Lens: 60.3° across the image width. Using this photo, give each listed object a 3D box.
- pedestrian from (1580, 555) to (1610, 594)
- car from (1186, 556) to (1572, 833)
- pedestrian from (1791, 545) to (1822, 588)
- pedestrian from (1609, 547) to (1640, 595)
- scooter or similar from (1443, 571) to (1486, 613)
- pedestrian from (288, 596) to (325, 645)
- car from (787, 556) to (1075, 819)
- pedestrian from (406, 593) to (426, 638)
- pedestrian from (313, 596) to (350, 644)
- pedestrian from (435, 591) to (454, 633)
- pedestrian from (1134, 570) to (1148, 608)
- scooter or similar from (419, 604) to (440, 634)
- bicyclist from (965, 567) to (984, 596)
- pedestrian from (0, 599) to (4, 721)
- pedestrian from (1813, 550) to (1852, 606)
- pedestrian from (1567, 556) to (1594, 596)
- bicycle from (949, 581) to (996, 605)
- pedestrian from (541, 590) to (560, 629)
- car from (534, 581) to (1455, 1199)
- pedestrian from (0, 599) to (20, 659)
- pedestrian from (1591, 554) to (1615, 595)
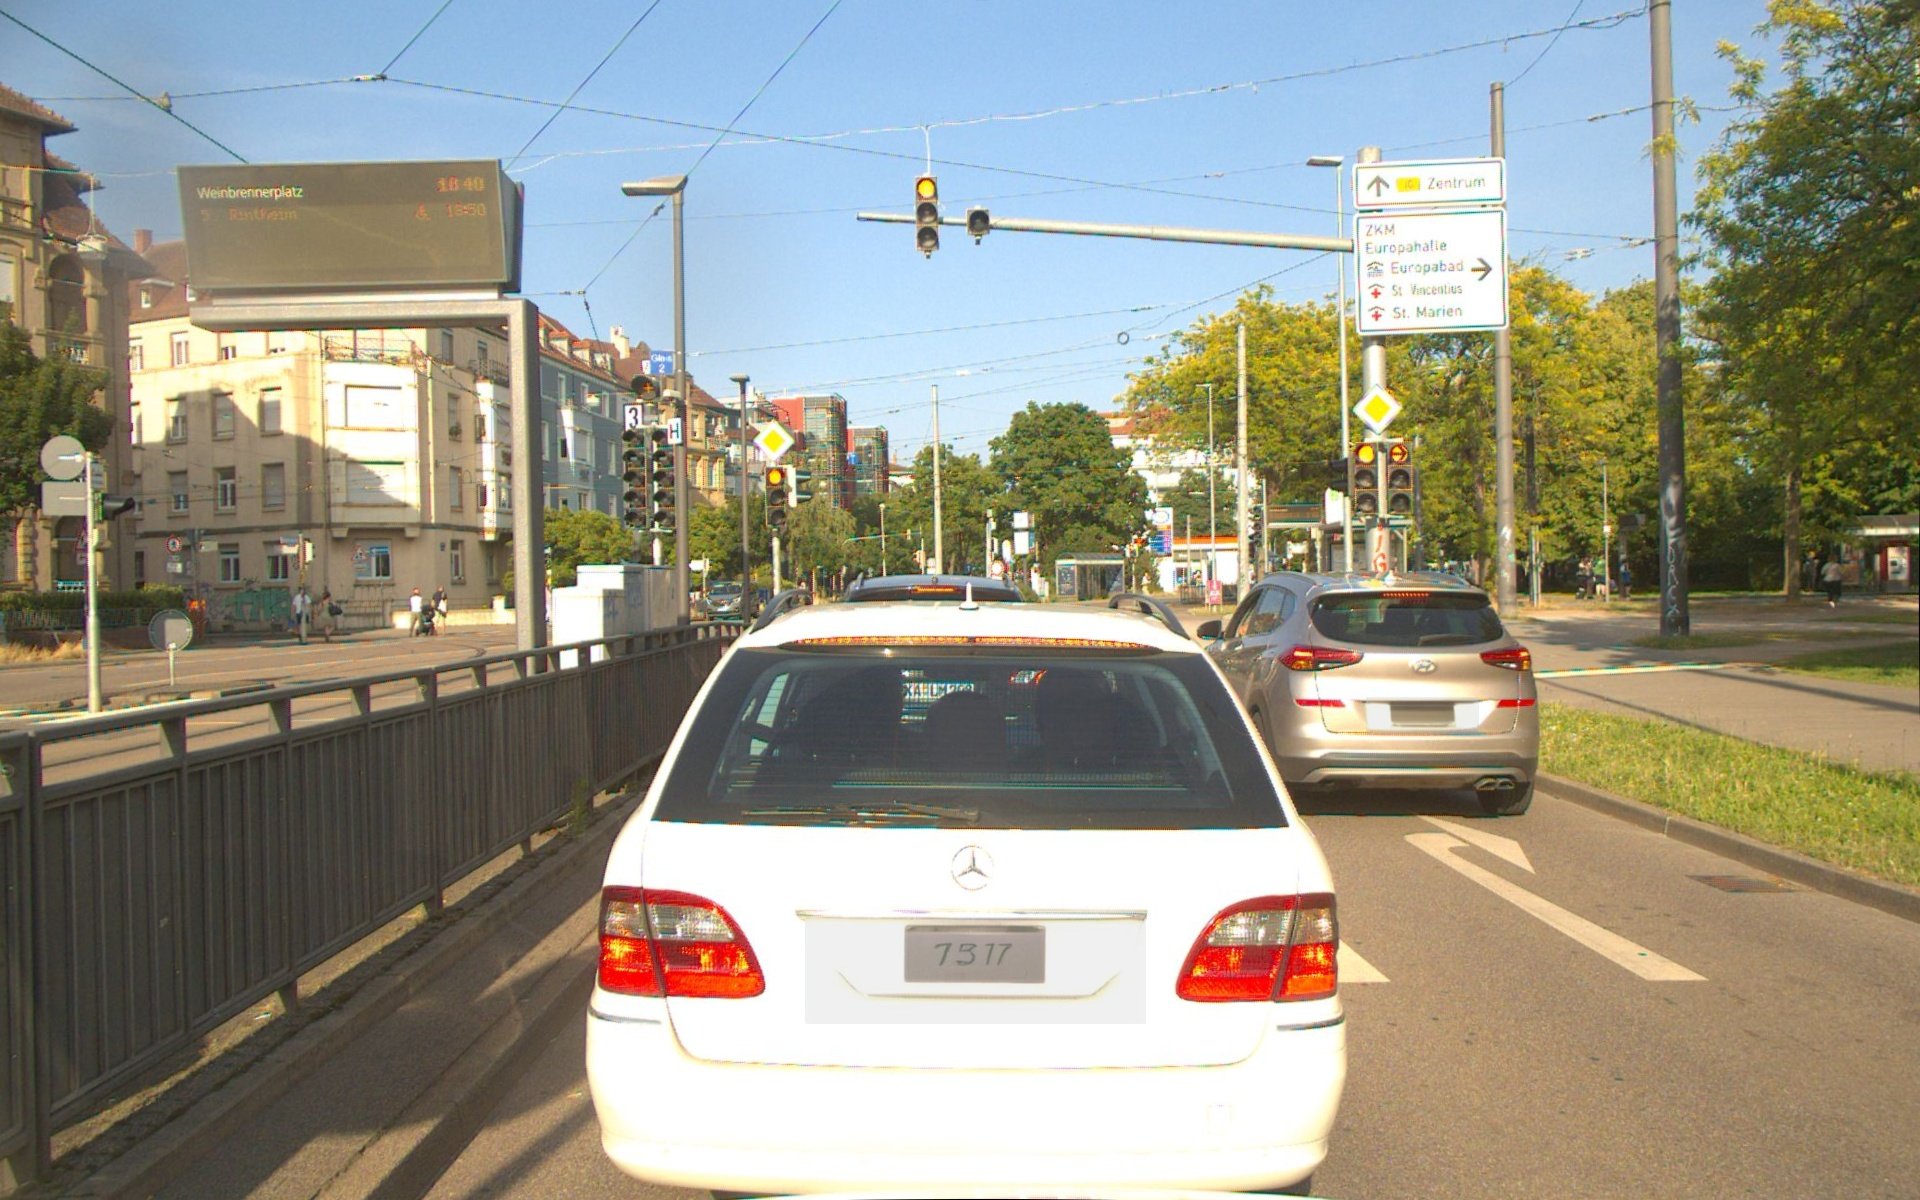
[{"bbox_3d":[24.863,-0.991,64.752,0.799,1.513,0.699,-1,0,-12],"label":"pedestrian"},{"bbox_3d":[2.873,0.575,12.177,1.846,1.680,3.647,-2,0,-1],"label":"car"},{"bbox_3d":[33.283,-1.314,65.037,0.818,1.665,0.803,-1,0,5],"label":"pedestrian"},{"bbox_3d":[25.881,-1.121,64.412,0.784,1.816,0.838,-1,0,-5],"label":"pedestrian"},{"bbox_3d":[13.939,-0.216,45.705,0.413,1.136,1.322,-1,0,-20],"label":"scooter or similar"},{"bbox_3d":[-21.901,0.683,55.458,0.812,1.579,0.782,-1,0,21],"label":"pedestrian"},{"bbox_3d":[-0.207,0.556,12.546,1.846,1.680,3.647,1,0,-1],"label":"car"},{"bbox_3d":[-20.047,0.571,60.984,0.497,1.654,0.608,-1,0,0],"label":"pedestrian"},{"bbox_3d":[-21.018,0.668,55.292,0.812,1.579,0.782,-1,0,21],"label":"pedestrian"},{"bbox_3d":[-19.128,0.449,61.336,0.428,1.527,0.549,-1,0,14],"label":"pedestrian"},{"bbox_3d":[9.155,-0.544,83.658,0.628,1.889,0.552,-1,0,11],"label":"pedestrian"},{"bbox_3d":[-19.857,0.709,61.921,0.532,1.098,0.683,1,0,-1],"label":"scooter or similar"},{"bbox_3d":[0.783,-1.001,89.140,0.842,1.507,0.790,-1,0,8],"label":"bicyclist"},{"bbox_3d":[-13.180,0.816,21.968,0.601,1.627,0.632,-1,0,-7],"label":"pedestrian"},{"bbox_3d":[26.031,-0.656,49.338,0.748,1.665,0.797,-2,0,-40],"label":"pedestrian"},{"bbox_3d":[24.055,-0.926,64.132,0.809,1.513,0.690,-2,0,-42],"label":"pedestrian"},{"bbox_3d":[0.693,-0.366,89.151,2.430,1.234,0.807,-1,0,7],"label":"bicycle"},{"bbox_3d":[-18.273,0.424,73.773,0.572,1.689,0.622,-1,0,16],"label":"pedestrian"},{"bbox_3d":[0.031,0.701,4.986,1.759,1.496,3.647,0,0,-1],"label":"car"},{"bbox_3d":[-25.507,0.773,43.938,0.616,1.568,0.711,-1,0,-1],"label":"pedestrian"},{"bbox_3d":[24.603,-0.972,63.237,0.797,1.513,0.700,-1,0,24],"label":"pedestrian"}]
